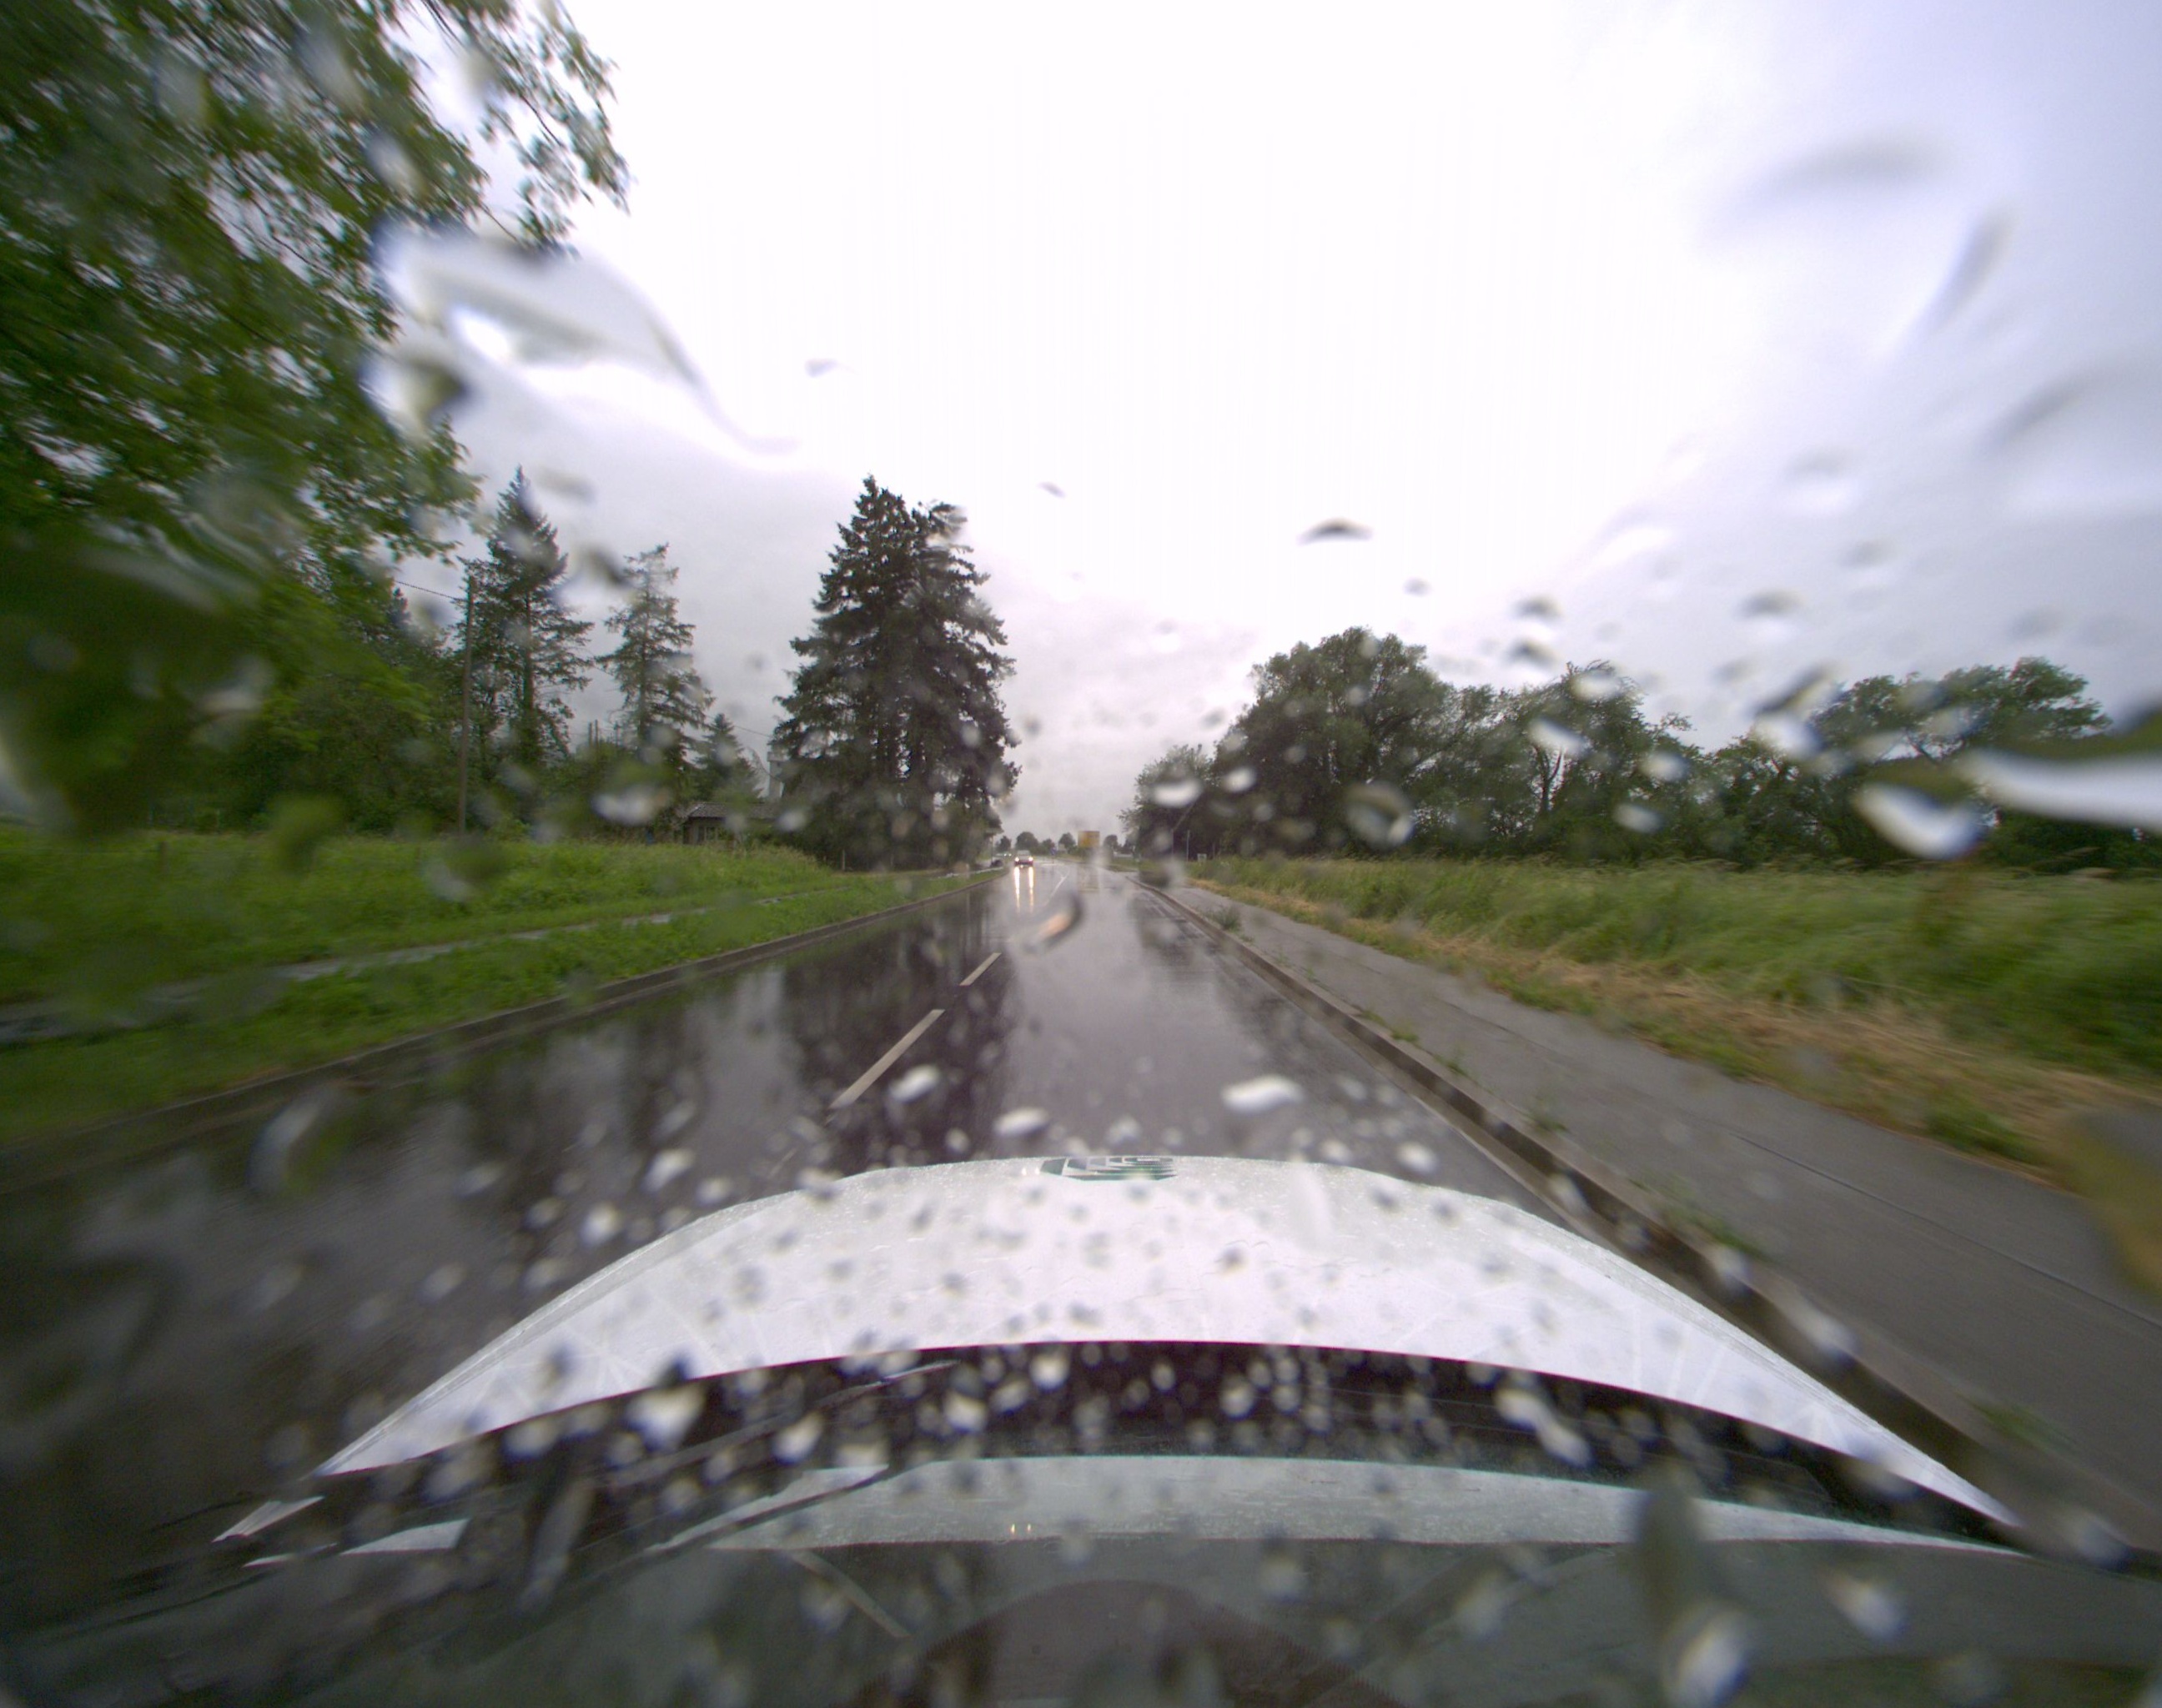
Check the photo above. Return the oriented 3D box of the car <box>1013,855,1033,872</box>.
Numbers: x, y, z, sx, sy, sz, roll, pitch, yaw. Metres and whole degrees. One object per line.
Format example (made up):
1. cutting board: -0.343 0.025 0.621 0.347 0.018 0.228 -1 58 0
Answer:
1. car: -5.819 0.982 81.750 1.758 1.552 3.990 2 -2 -7
